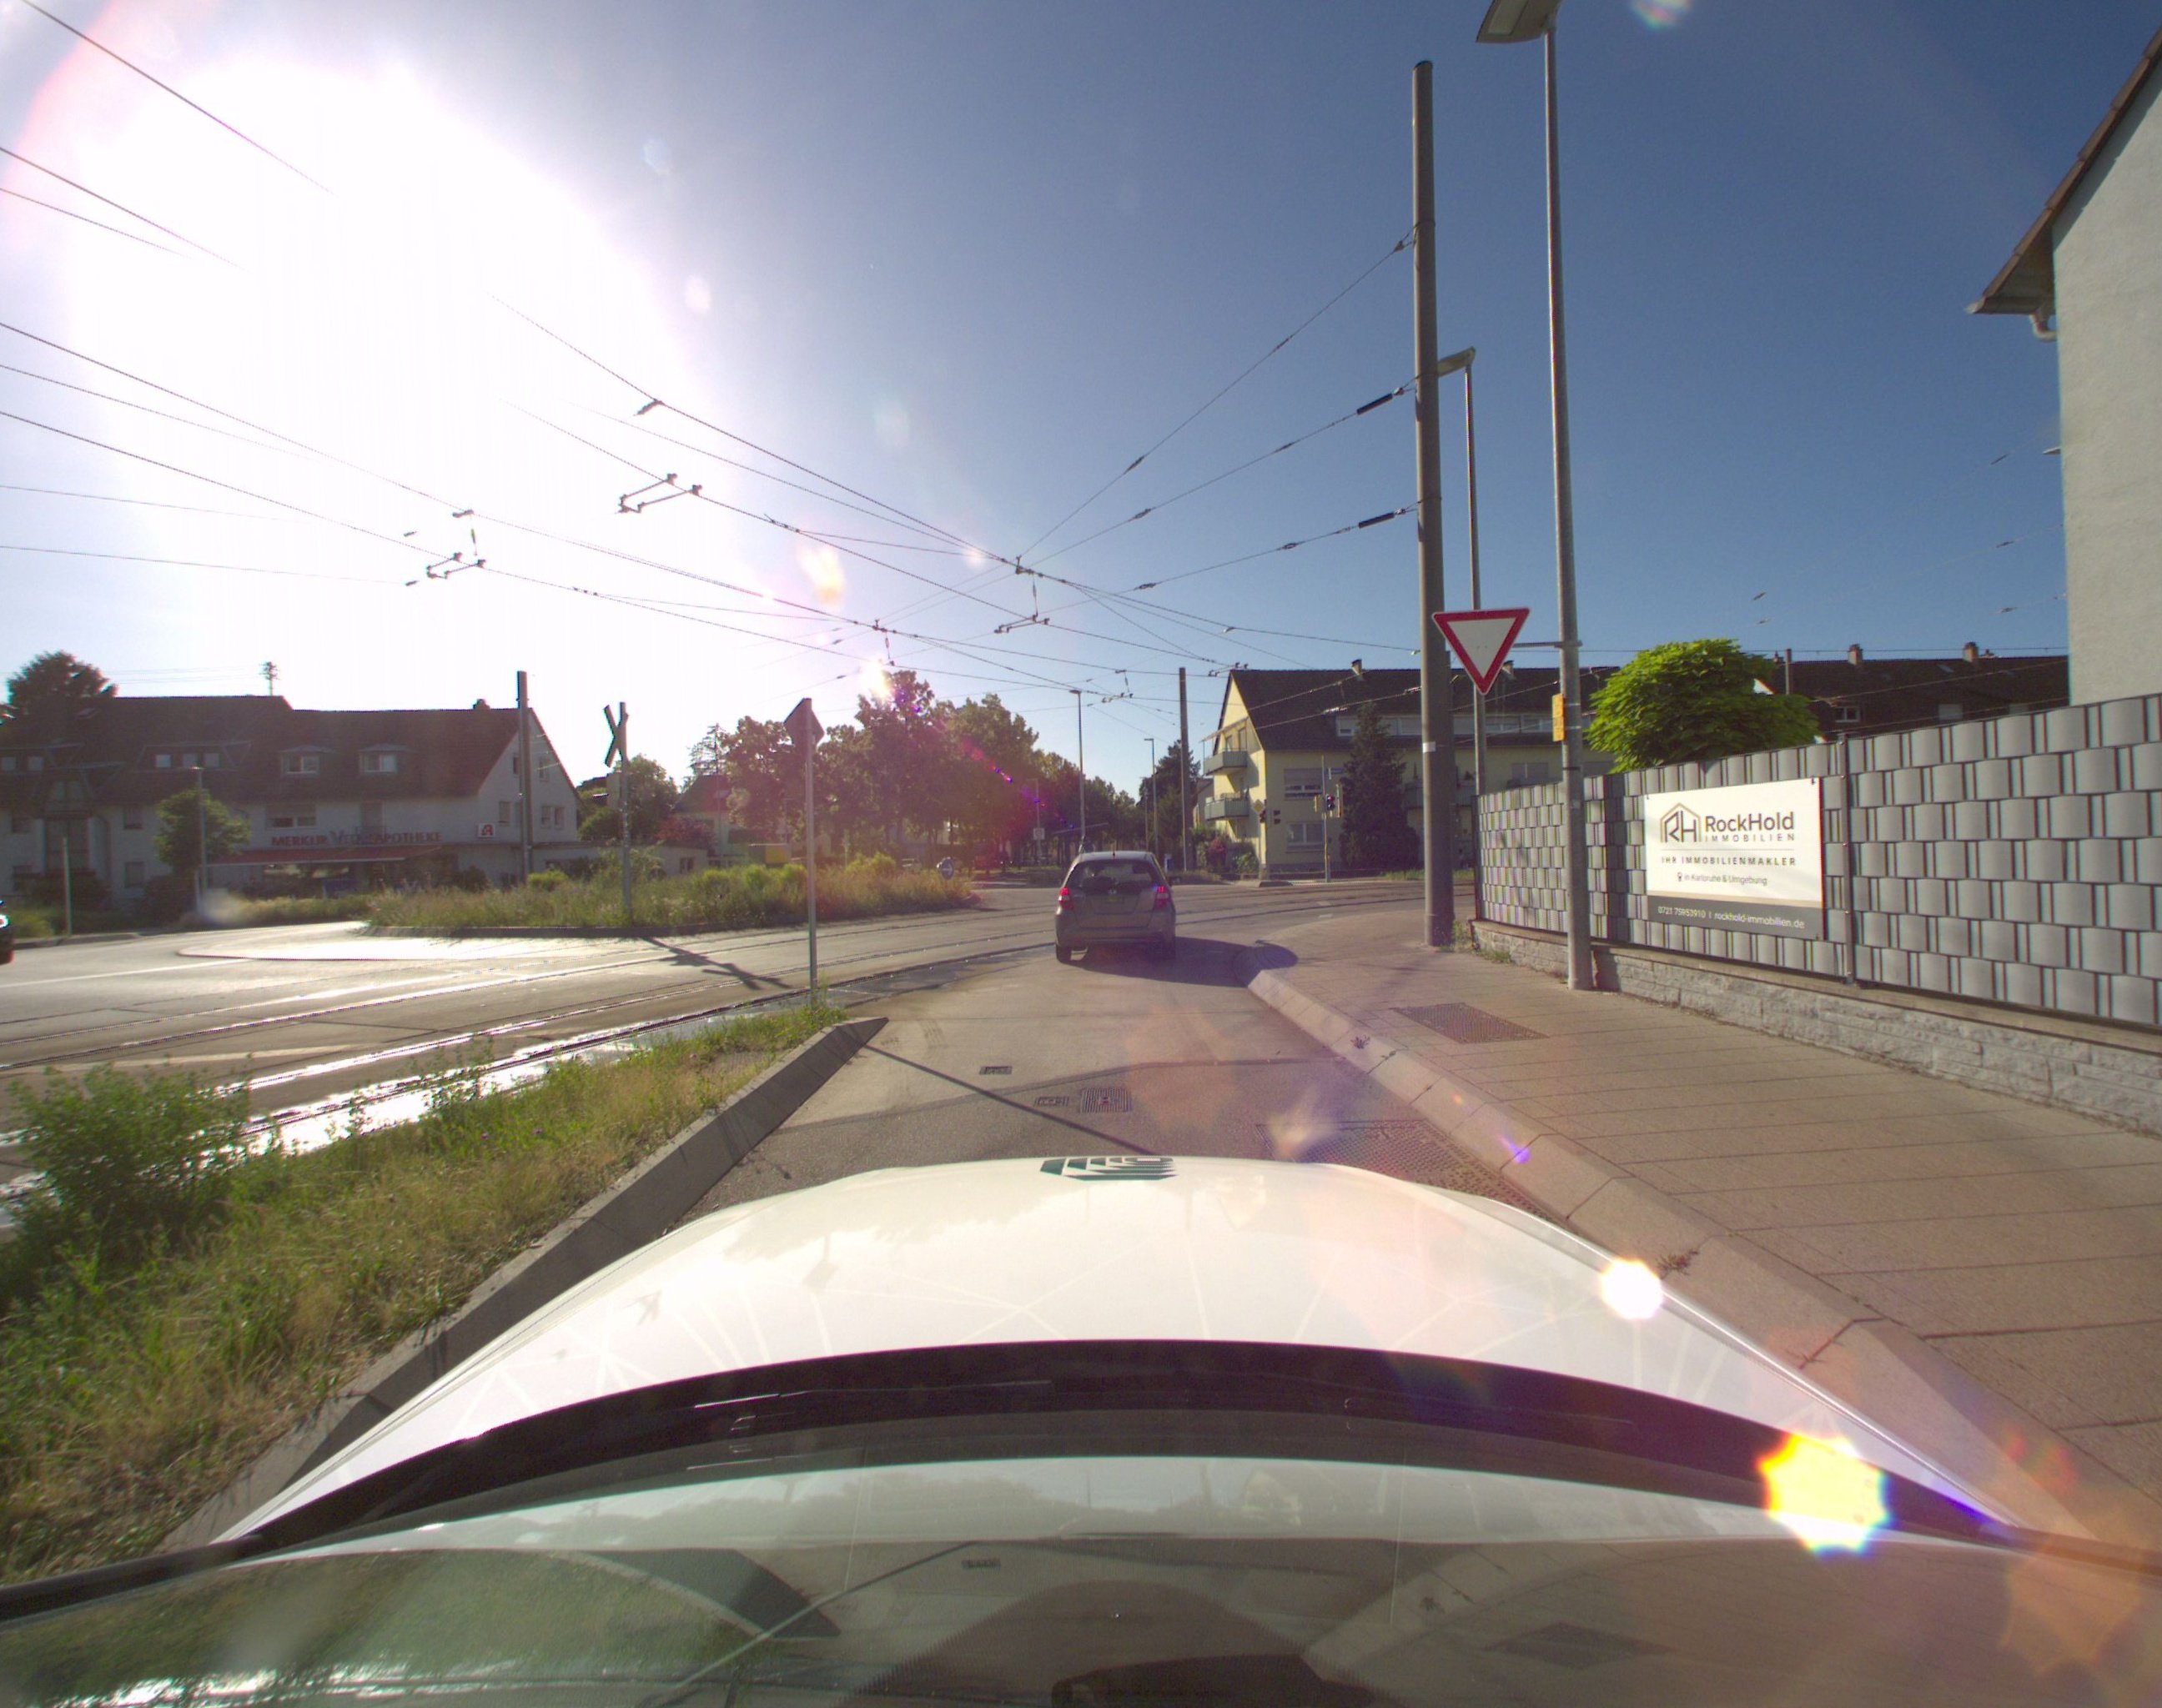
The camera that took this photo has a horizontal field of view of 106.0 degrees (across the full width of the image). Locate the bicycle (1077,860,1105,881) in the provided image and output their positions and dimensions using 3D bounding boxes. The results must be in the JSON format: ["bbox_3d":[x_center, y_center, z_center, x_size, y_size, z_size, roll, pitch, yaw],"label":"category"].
[{"bbox_3d":[0.610,0.987,48.442,1.661,1.208,0.689,0,0,-1],"label":"bicycle"}]

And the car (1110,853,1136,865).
[{"bbox_3d":[5.406,0.650,105.940,3.346,1.533,1.524,0,0,2],"label":"car"}]

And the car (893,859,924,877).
[{"bbox_3d":[-16.704,1.356,79.014,1.986,1.699,4.221,0,0,2],"label":"car"}]

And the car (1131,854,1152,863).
[{"bbox_3d":[10.417,0.754,140.575,3.503,1.533,1.578,0,0,2],"label":"car"}]

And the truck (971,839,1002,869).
[{"bbox_3d":[-13.024,0.002,113.157,3.057,3.993,8.014,0,0,2],"label":"truck"}]

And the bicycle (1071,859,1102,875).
[{"bbox_3d":[0.319,0.815,52.140,1.967,1.027,0.696,0,0,-1],"label":"bicycle"}]

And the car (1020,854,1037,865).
[{"bbox_3d":[-8.677,0.877,133.787,1.983,1.699,4.227,0,0,7],"label":"car"}]

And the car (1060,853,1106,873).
[{"bbox_3d":[0.139,0.729,63.772,3.502,1.533,1.579,0,0,3],"label":"car"}]

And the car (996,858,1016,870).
[{"bbox_3d":[-9.984,1.275,108.903,1.821,1.580,4.449,0,0,7],"label":"car"}]

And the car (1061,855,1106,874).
[{"bbox_3d":[0.238,0.853,65.541,3.502,1.533,1.579,0,0,3],"label":"car"}]

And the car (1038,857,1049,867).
[{"bbox_3d":[-6.677,1.435,146.417,1.641,1.648,3.571,0,0,2],"label":"car"}]

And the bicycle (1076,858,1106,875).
[{"bbox_3d":[0.619,0.781,51.240,1.835,1.027,0.689,0,0,-1],"label":"bicycle"}]

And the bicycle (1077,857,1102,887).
[{"bbox_3d":[0.298,0.666,29.358,0.764,1.037,1.532,-1,-2,-4],"label":"bicycle"}]

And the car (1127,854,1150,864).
[{"bbox_3d":[9.169,0.743,129.972,3.503,1.533,1.578,0,0,2],"label":"car"}]

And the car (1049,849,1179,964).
[{"bbox_3d":[0.524,0.679,12.657,1.681,1.491,3.917,-1,0,2],"label":"car"}]

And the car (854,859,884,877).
[{"bbox_3d":[-17.678,1.165,68.048,1.796,1.464,3.795,0,0,-5],"label":"car"}]

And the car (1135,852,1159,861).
[{"bbox_3d":[9.736,0.387,119.995,3.503,1.279,1.578,0,0,2],"label":"car"}]

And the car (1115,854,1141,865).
[{"bbox_3d":[6.372,0.697,110.668,3.465,1.493,1.553,0,0,2],"label":"car"}]

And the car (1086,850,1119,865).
[{"bbox_3d":[2.327,0.379,87.635,3.502,1.533,1.579,0,0,3],"label":"car"}]

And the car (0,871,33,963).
[{"bbox_3d":[-22.086,1.312,15.395,4.205,1.670,1.829,-3,1,25],"label":"car"}]

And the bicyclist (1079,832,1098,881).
[{"bbox_3d":[0.264,0.097,29.669,0.601,1.714,0.544,-2,-4,-2],"label":"bicyclist"}]

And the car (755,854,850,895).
[{"bbox_3d":[-14.977,1.078,44.136,1.977,1.982,5.263,-4,-2,20],"label":"car"}]

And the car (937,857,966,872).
[{"bbox_3d":[-15.159,1.209,95.530,1.983,1.773,5.069,0,0,6],"label":"car"}]
